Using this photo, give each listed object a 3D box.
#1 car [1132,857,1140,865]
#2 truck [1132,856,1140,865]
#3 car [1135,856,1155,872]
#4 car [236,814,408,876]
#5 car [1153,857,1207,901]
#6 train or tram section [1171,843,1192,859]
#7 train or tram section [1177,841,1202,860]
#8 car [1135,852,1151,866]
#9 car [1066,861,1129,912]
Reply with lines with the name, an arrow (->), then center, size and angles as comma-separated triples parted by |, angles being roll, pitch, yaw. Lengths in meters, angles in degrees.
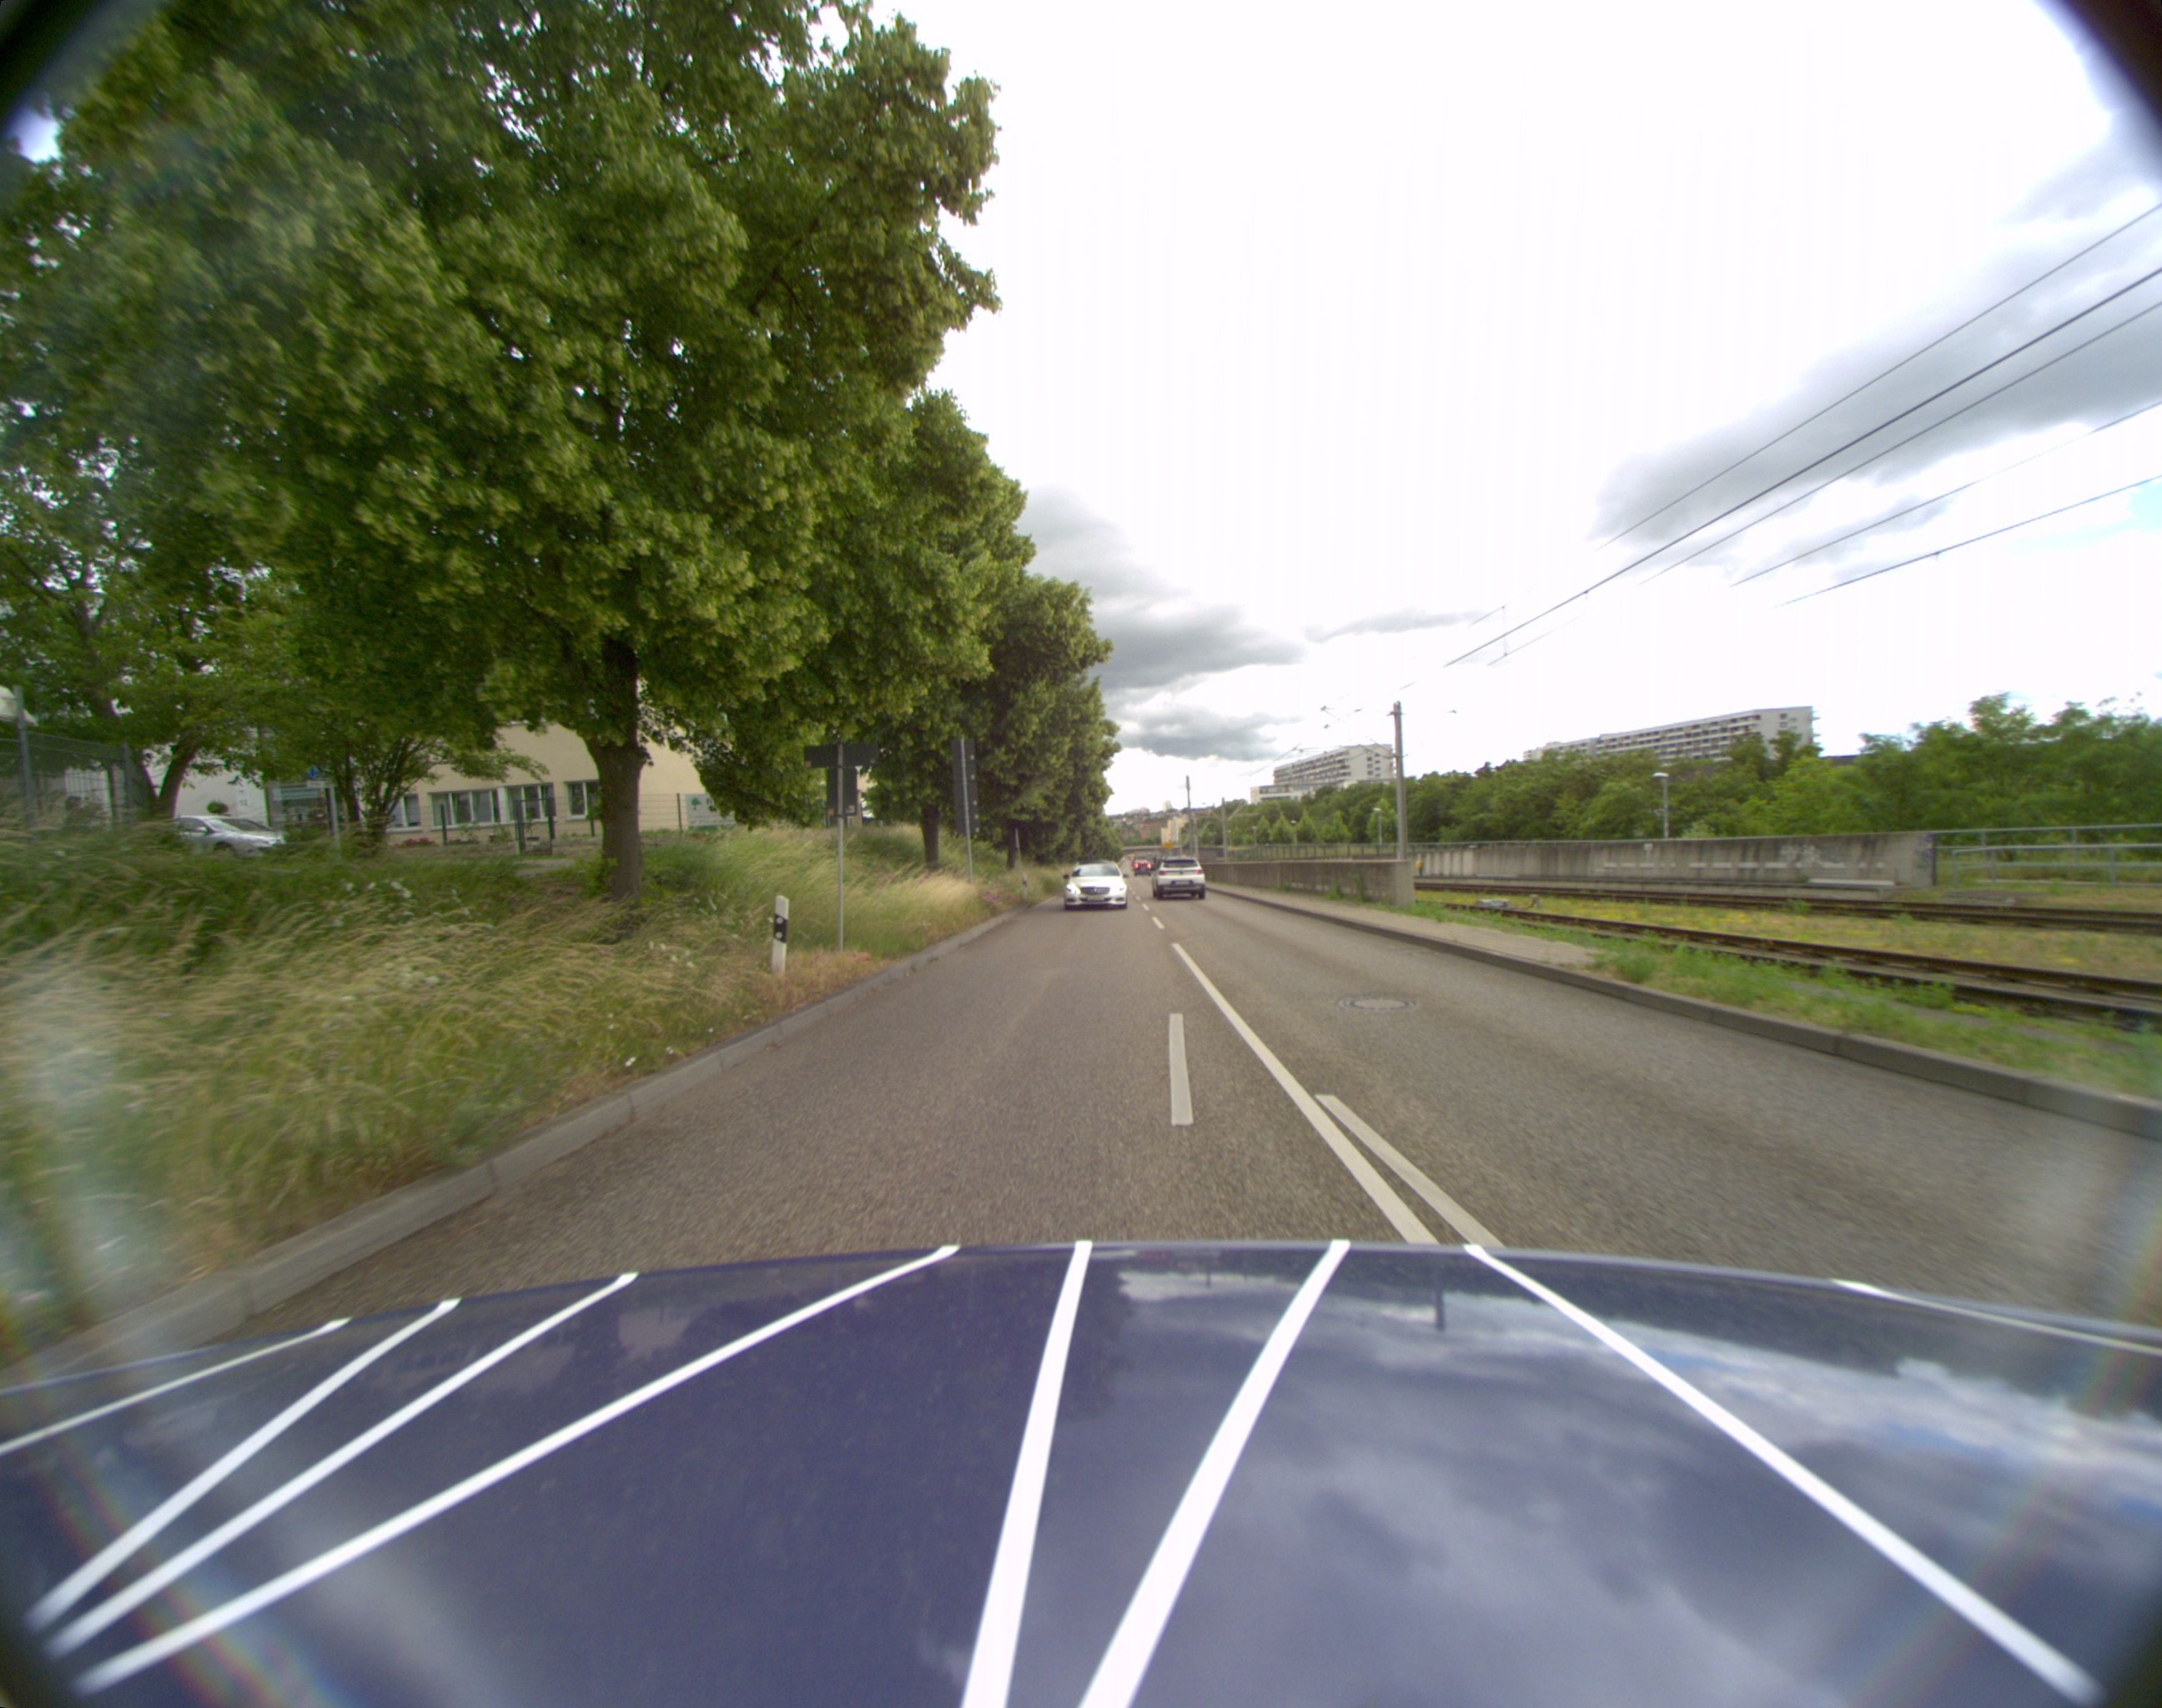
car -> 11.589, 1.445, 159.688 | 1.598, 1.531, 2.698 | -1, 0, 5
truck -> 17.463, 2.042, 240.439 | 2.455, 2.412, 8.213 | -2, 0, 3
car -> 6.931, 1.070, 82.409 | 1.827, 1.647, 4.246 | -2, 0, 2
car -> -20.796, -0.237, 20.878 | 3.365, 1.501, 1.578 | -2, 0, 9
car -> 3.689, 0.902, 28.829 | 1.720, 1.512, 3.745 | -1, 0, 3
train or tram section -> 20.782, -0.648, 158.236 | 2.787, 3.175, 18.478 | -2, 0, 3
train or tram section -> 19.778, -0.595, 139.779 | 2.787, 3.175, 18.477 | -2, 0, 3
car -> 8.620, 0.647, 106.178 | 1.901, 1.823, 4.906 | 2, 0, 2
car -> 0.597, 0.954, 23.973 | 1.739, 1.366, 4.001 | -2, 0, 4
